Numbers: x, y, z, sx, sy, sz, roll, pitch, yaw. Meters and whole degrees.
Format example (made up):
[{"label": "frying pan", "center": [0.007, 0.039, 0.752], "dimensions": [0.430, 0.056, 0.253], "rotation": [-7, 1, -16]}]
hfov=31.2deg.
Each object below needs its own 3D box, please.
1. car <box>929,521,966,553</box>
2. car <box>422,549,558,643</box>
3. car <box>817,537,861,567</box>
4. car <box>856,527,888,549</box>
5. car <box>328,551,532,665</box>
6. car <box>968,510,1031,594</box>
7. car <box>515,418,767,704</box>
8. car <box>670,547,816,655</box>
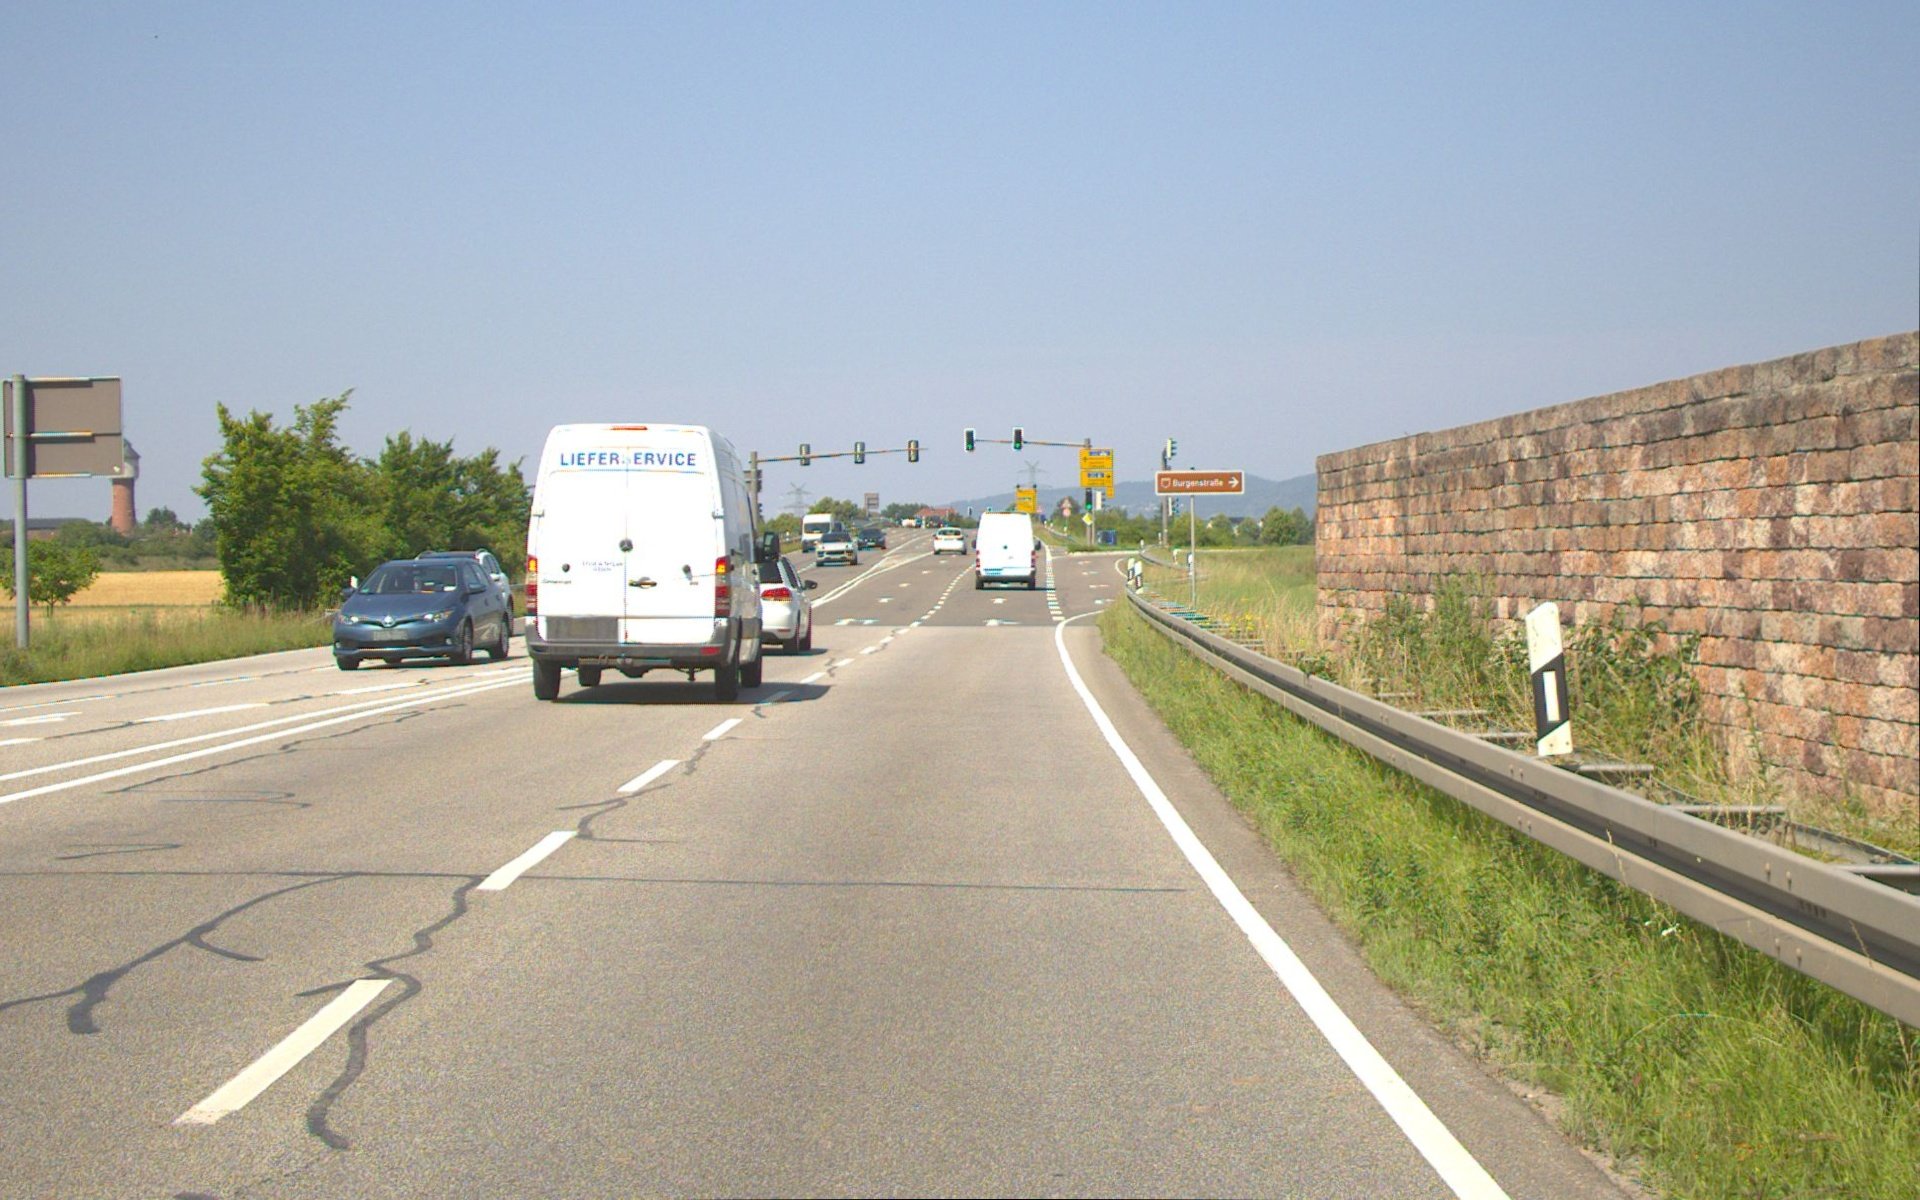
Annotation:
[{"label": "car", "center": [-0.707, -3.588, 196.740], "dimensions": [1.993, 1.697, 4.275], "rotation": [1, 0, 1]}, {"label": "car", "center": [-8.986, -0.105, 66.055], "dimensions": [1.665, 1.671, 4.462], "rotation": [-2, 1, 4]}, {"label": "car", "center": [-6.011, -2.392, 171.134], "dimensions": [1.857, 1.418, 4.000], "rotation": [-1, 1, 2]}, {"label": "car", "center": [-5.868, -4.133, 229.438], "dimensions": [1.857, 1.418, 4.000], "rotation": [0, 0, 2]}, {"label": "car", "center": [-7.211, 0.074, 47.137], "dimensions": [1.759, 1.452, 4.230], "rotation": [-1, 1, 5]}, {"label": "car", "center": [1.321, -1.592, 114.167], "dimensions": [1.993, 2.686, 4.969], "rotation": [-1, 1, 1]}, {"label": "car", "center": [-3.112, -0.374, 34.701], "dimensions": [2.039, 2.611, 5.741], "rotation": [1, 0, -1]}, {"label": "car", "center": [-3.130, -0.019, 50.266], "dimensions": [1.799, 1.503, 4.196], "rotation": [0, 1, 1]}]
